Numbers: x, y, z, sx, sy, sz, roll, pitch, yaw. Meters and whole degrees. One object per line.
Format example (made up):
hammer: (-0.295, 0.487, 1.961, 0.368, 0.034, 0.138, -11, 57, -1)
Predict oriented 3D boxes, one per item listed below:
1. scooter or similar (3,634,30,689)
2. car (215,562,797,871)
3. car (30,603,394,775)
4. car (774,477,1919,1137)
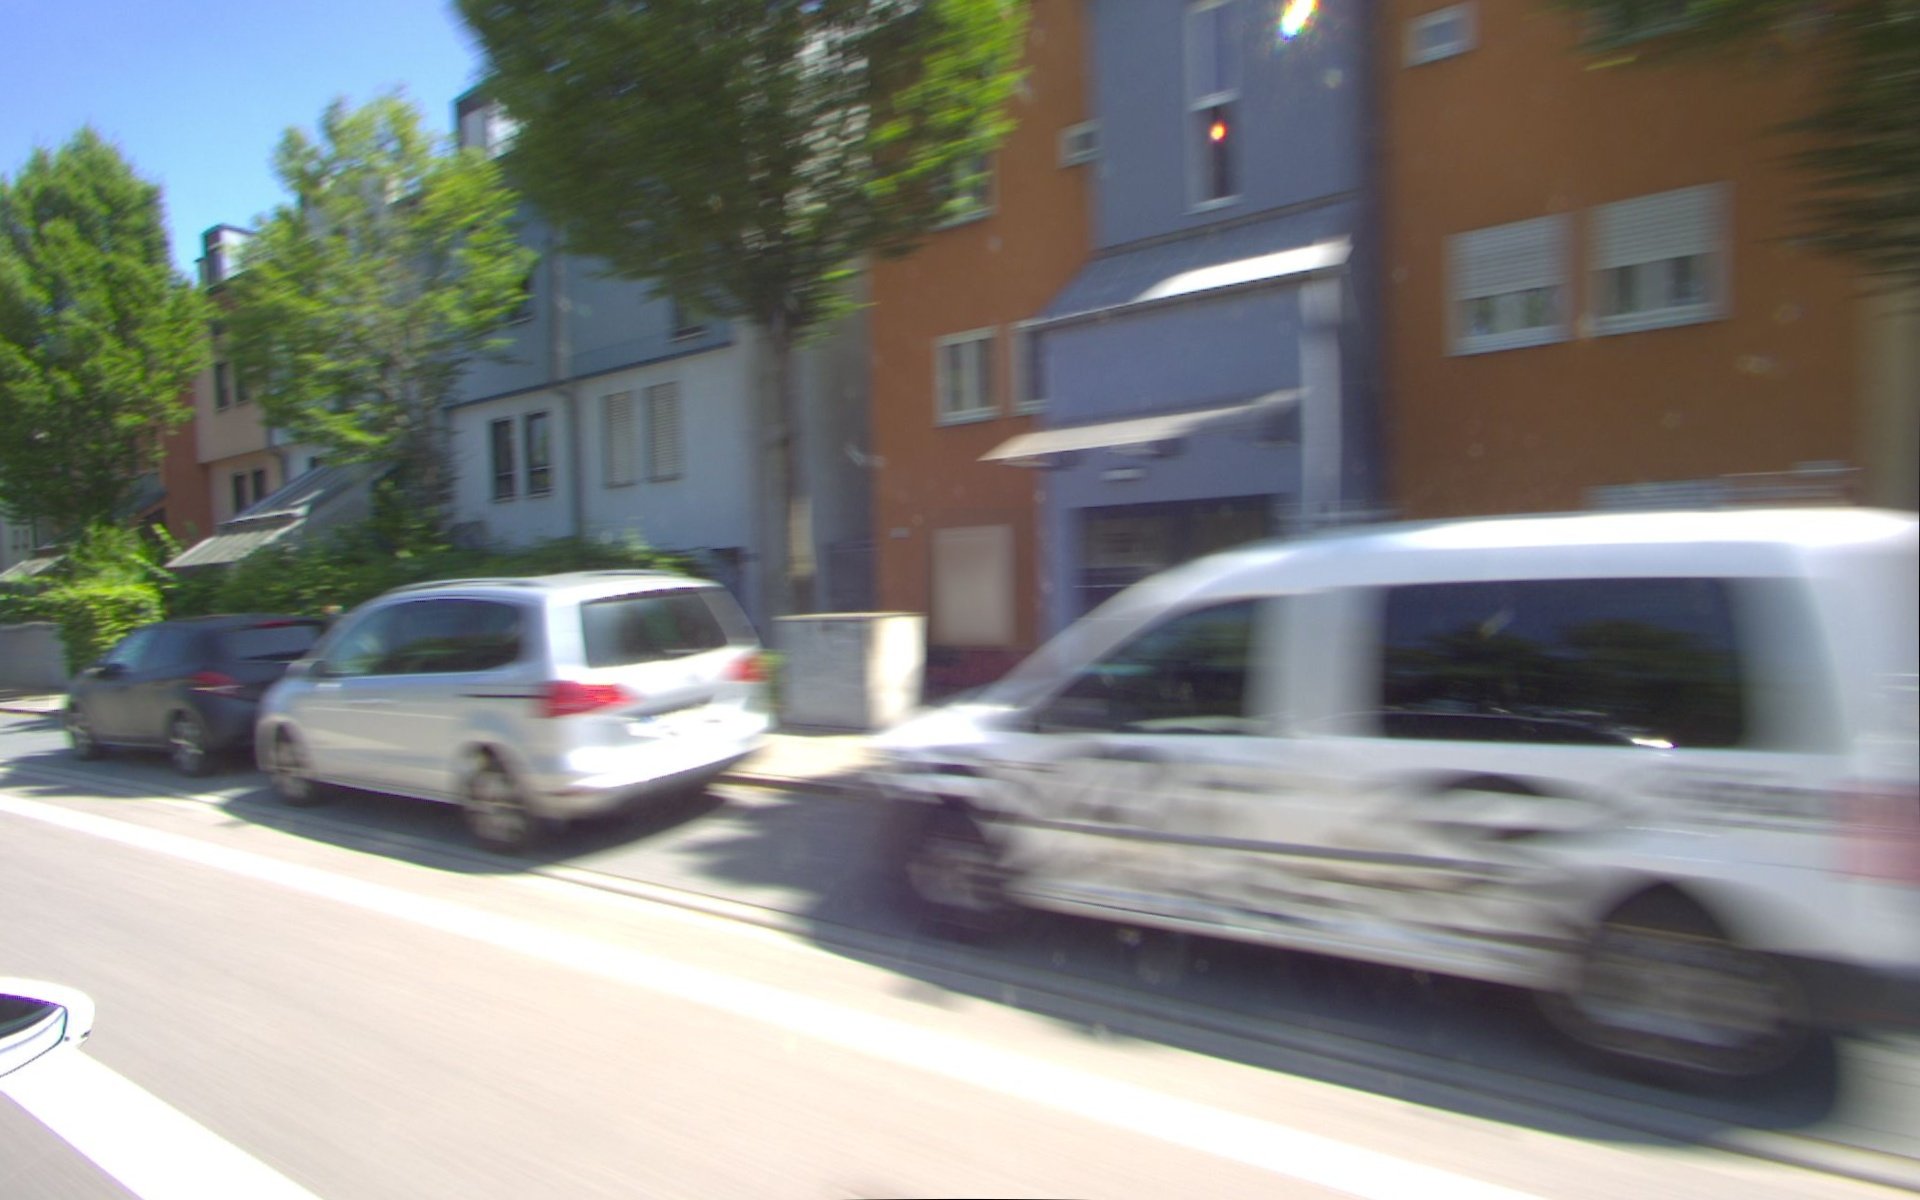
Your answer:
scooter or similar: (-18.429, 1.200, 19.555, 1.071, 1.045, 0.332, -2, -2, 44)
car: (-3.670, 0.665, 7.771, 4.712, 1.718, 1.834, -1, 4, 34)
car: (-8.014, 0.826, 10.650, 4.118, 1.443, 1.579, -1, 3, 31)
car: (1.423, 0.546, 4.555, 4.291, 1.819, 1.835, -1, 3, 32)
